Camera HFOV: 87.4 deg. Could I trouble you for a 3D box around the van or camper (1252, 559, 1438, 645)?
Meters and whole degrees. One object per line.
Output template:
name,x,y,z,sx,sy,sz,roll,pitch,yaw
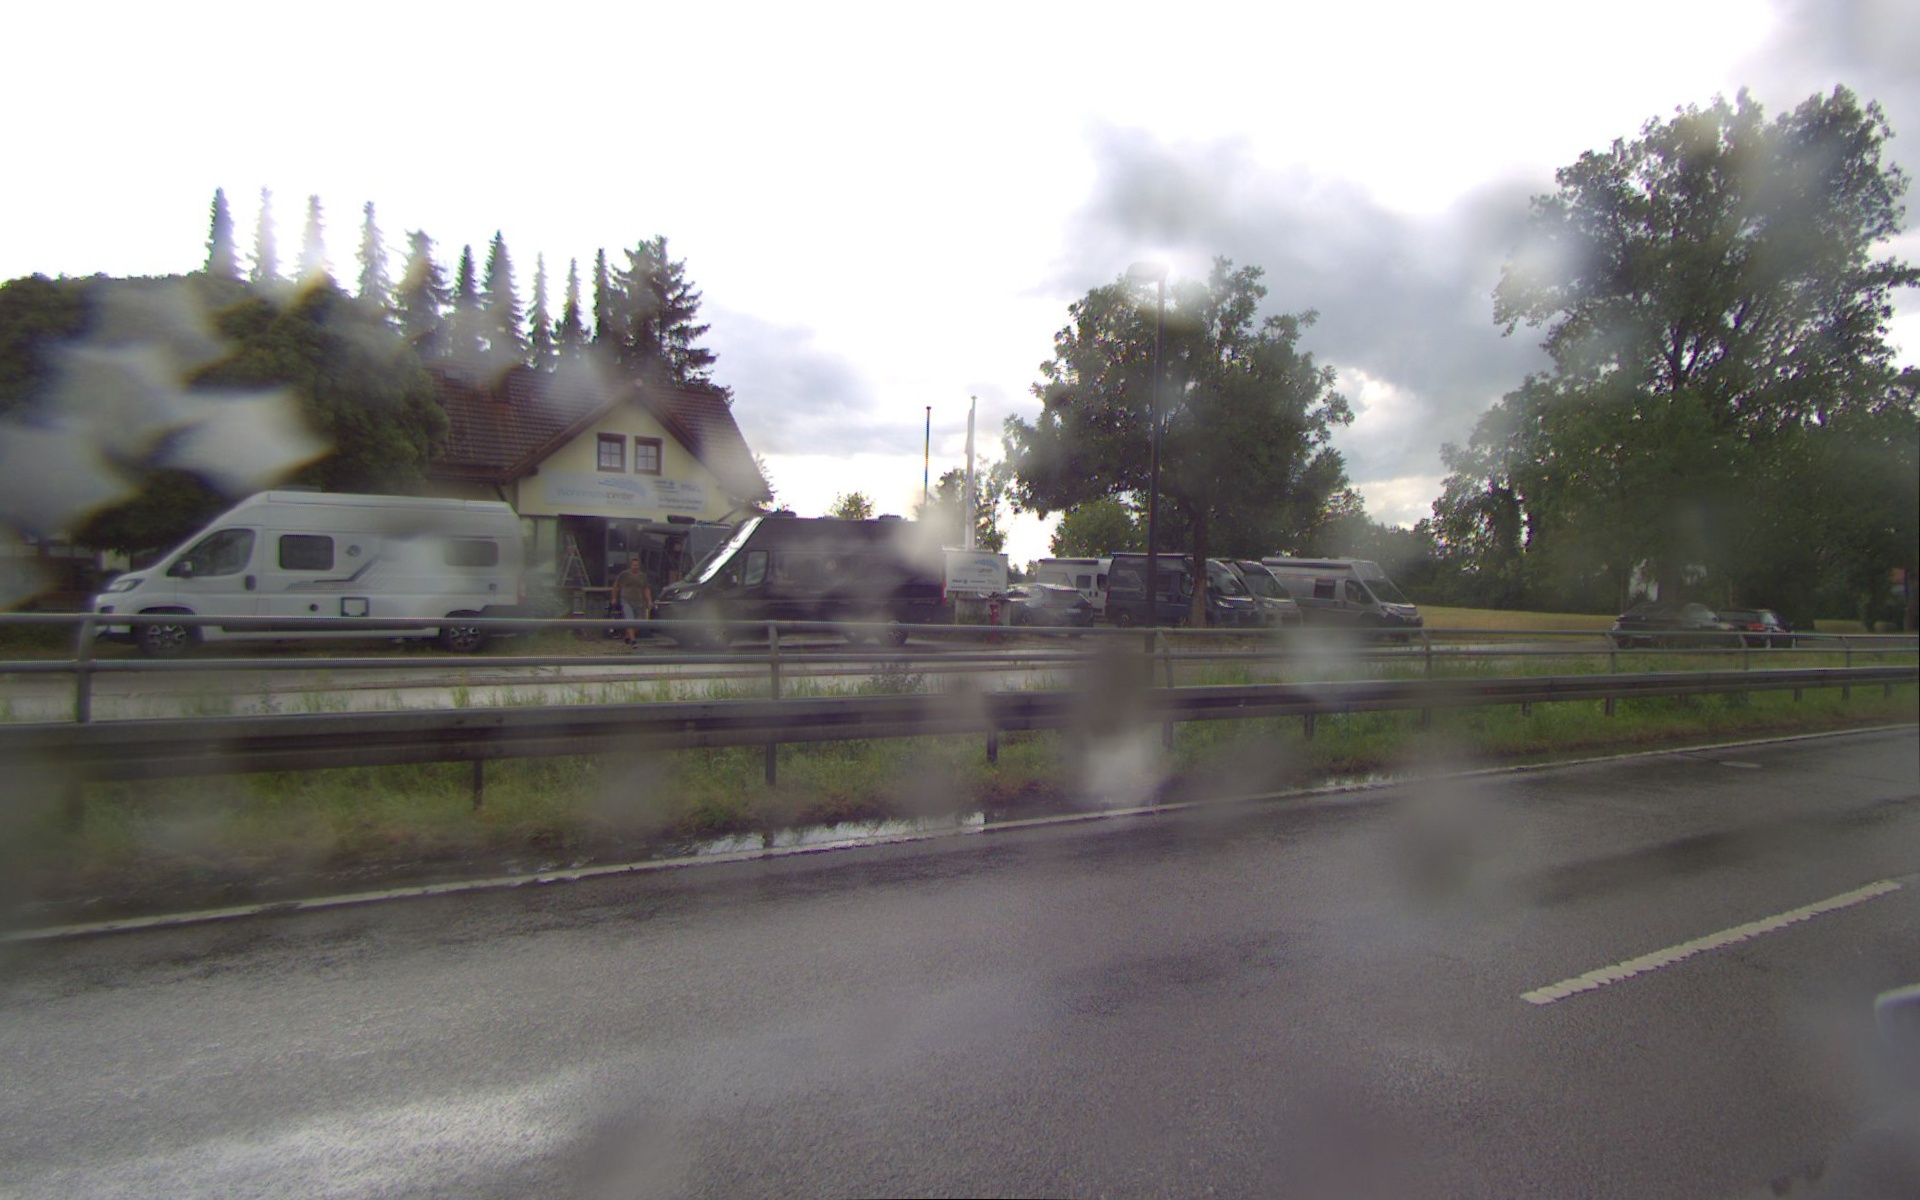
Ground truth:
van or camper,13.295,-0.016,35.109,2.061,2.713,5.835,1,2,-35

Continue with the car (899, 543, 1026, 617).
car,-0.039,-0.792,38.611,2.067,2.573,6.062,1,1,-30

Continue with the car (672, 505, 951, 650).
car,-3.171,-0.428,21.878,5.513,2.800,2.369,1,2,-33

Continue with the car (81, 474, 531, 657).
car,-10.597,-0.481,16.871,5.953,2.615,2.224,1,2,-32

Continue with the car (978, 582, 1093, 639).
car,2.161,0.273,29.788,1.521,1.516,3.867,1,2,-28

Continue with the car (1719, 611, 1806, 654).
car,27.337,1.086,34.167,3.859,1.349,1.274,1,1,-35

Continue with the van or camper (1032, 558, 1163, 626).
van or camper,5.679,-0.391,42.303,1.981,2.625,5.762,1,2,-37

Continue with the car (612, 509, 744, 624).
car,-7.880,-0.900,27.638,2.142,2.802,5.609,1,1,-30

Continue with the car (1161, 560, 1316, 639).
car,9.455,-0.087,34.579,1.978,2.492,5.062,1,2,-33

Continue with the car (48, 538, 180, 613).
car,-19.465,-0.590,23.278,2.005,1.576,3.689,-1,3,-36

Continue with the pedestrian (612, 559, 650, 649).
pedestrian,-6.496,0.073,19.829,0.641,1.733,0.514,1,2,-23

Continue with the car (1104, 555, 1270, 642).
car,7.135,-0.113,32.117,1.980,2.535,5.147,1,2,-35

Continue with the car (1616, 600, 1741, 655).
car,21.996,0.824,30.681,5.071,1.511,1.505,1,2,-36
